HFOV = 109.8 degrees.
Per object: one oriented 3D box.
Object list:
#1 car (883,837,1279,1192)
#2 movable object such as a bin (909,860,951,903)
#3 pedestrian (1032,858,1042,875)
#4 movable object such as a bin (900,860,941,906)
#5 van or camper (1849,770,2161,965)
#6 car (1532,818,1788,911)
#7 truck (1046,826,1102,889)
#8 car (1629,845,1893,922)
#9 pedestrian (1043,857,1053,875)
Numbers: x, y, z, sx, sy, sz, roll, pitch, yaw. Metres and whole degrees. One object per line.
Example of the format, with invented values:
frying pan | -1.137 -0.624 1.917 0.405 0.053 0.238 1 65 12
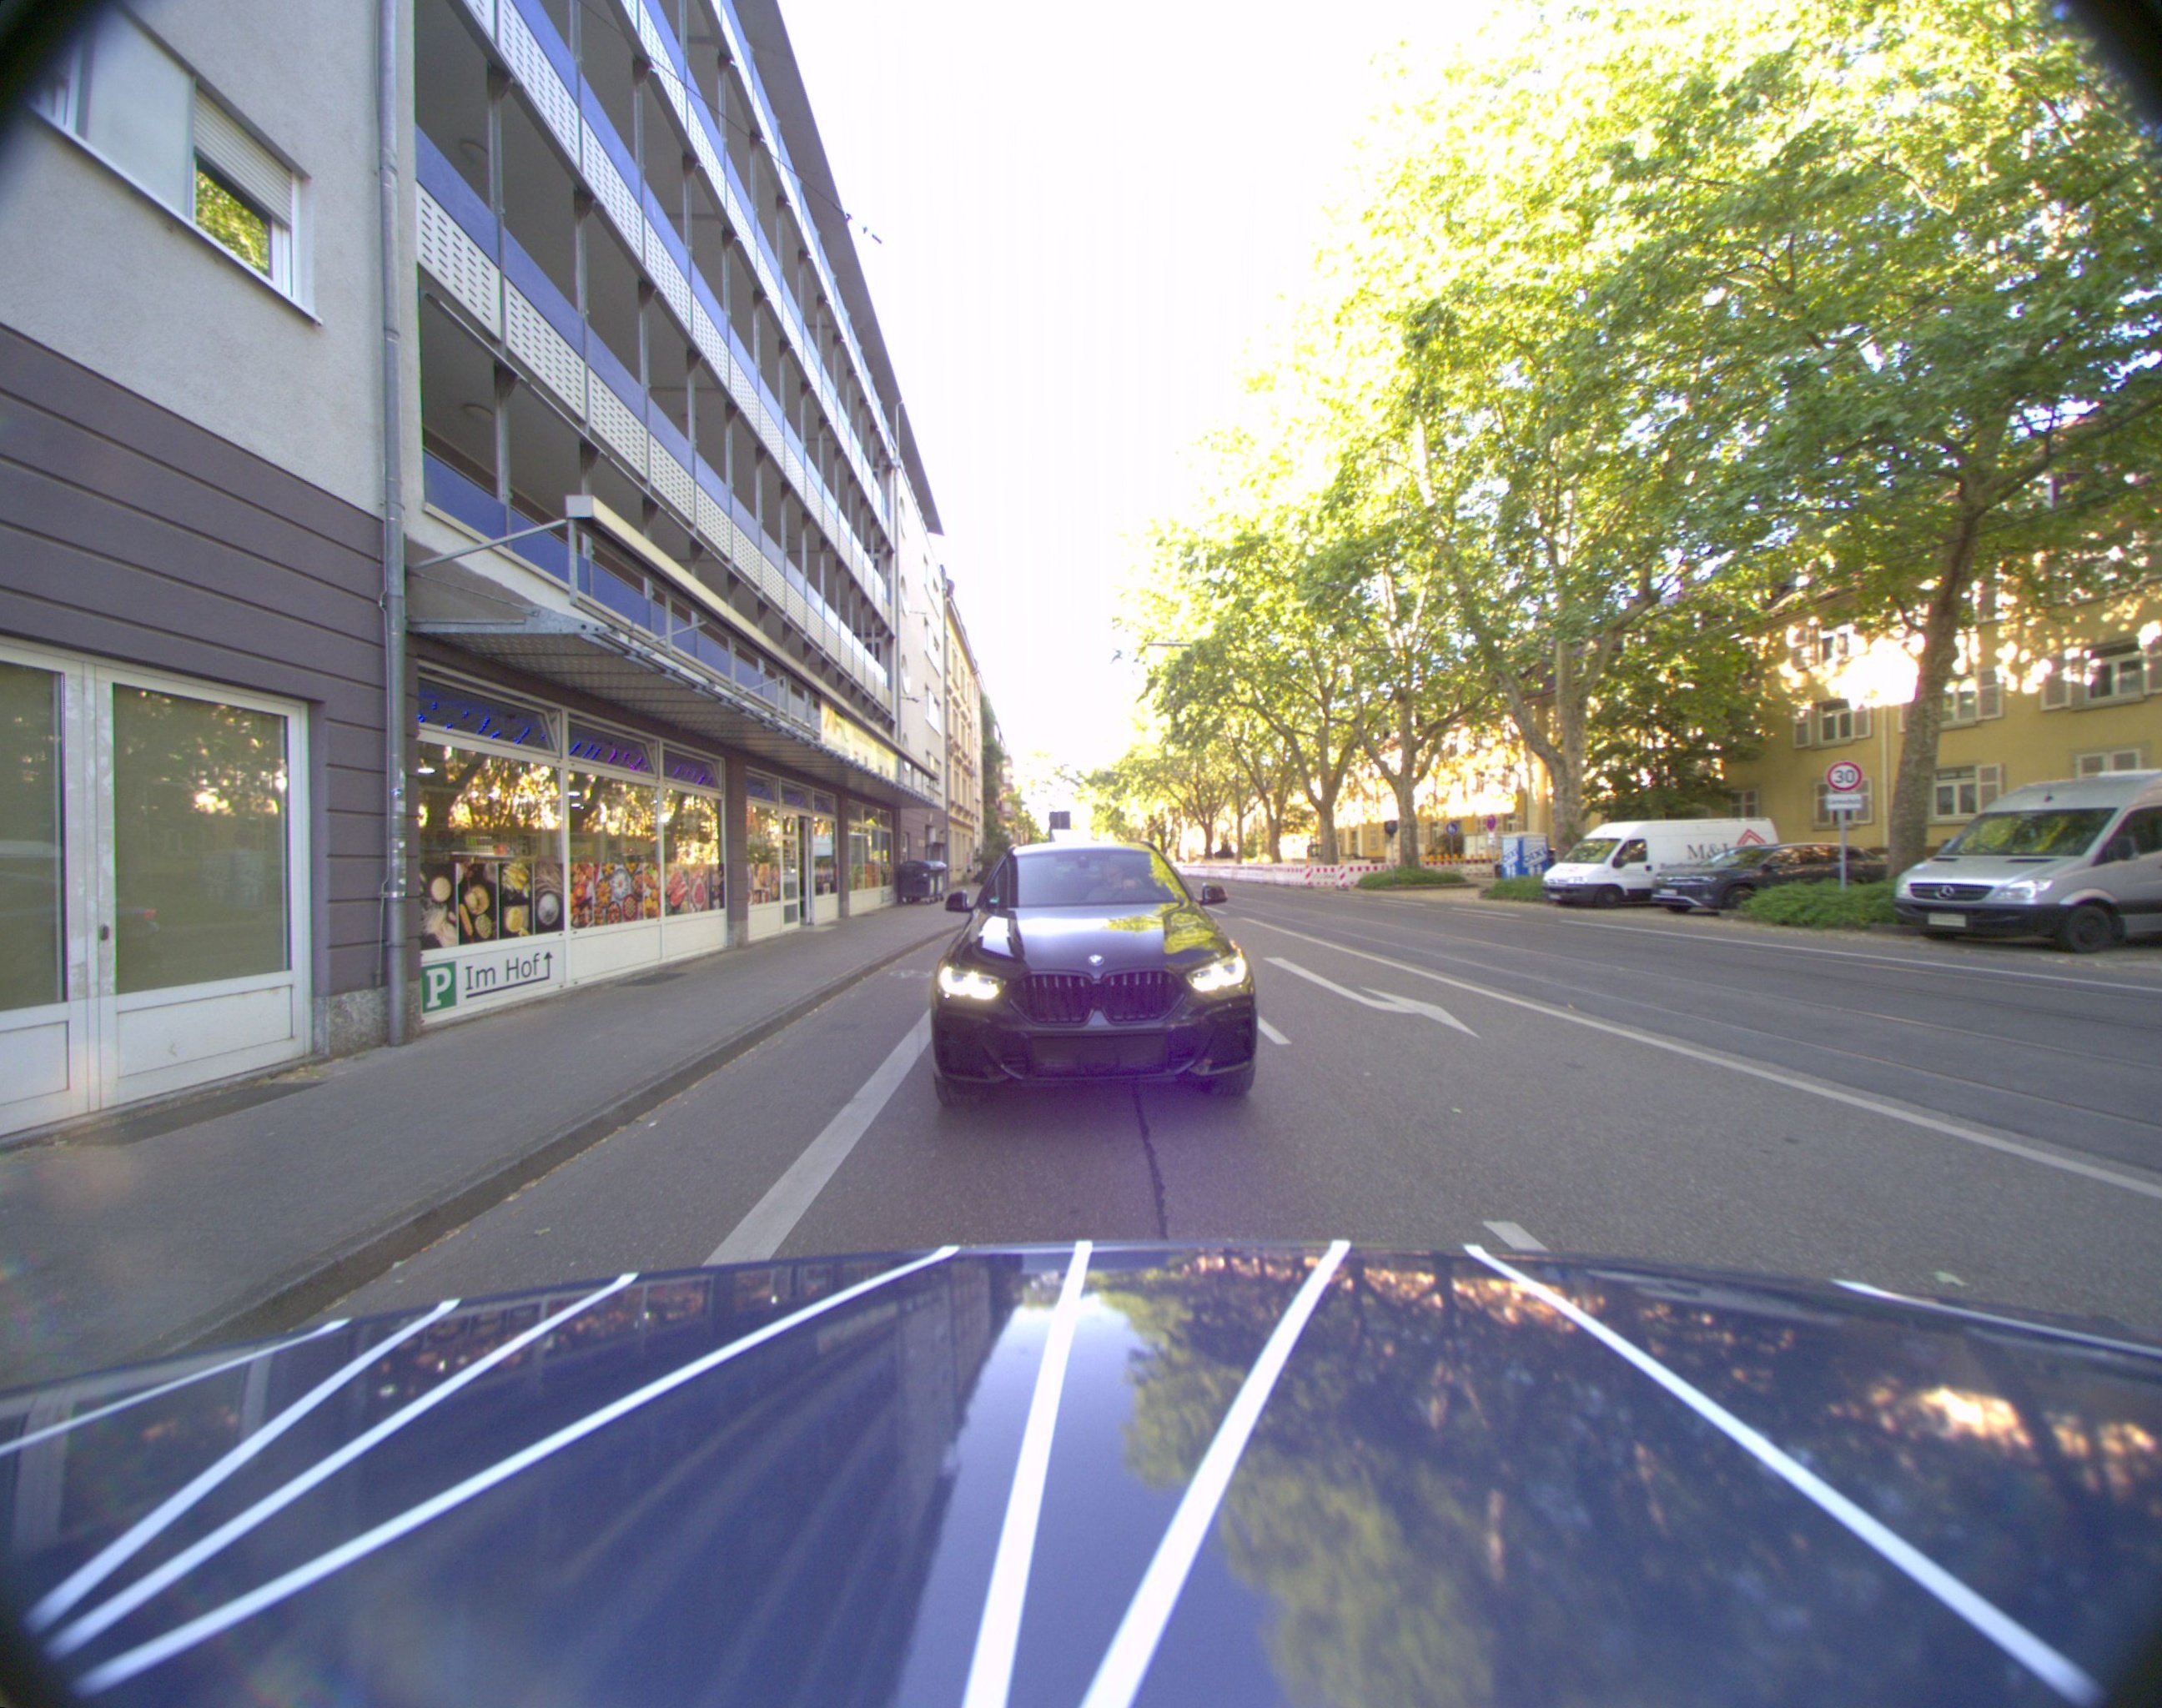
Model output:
car | 0.024 0.823 6.078 1.943 1.733 4.475 -2 0 1
movable object such as a bin | -5.281 0.951 26.727 1.122 1.437 1.306 -1 0 4
pedestrian | -4.463 1.283 77.396 0.876 1.728 0.848 -3 1 4
movable object such as a bin | -5.222 0.931 24.832 1.069 1.438 1.296 -1 0 -1
van or camper | 16.093 0.125 11.818 6.127 2.661 2.229 -2 0 -2
car | 15.857 0.271 21.017 5.612 2.361 2.025 -1 0 -2
truck | -0.568 0.198 43.176 2.385 3.165 8.525 2 0 -5
car | 15.945 0.654 17.991 4.575 1.621 1.969 -1 0 -2
pedestrian | -3.400 1.229 77.485 0.876 1.728 0.848 -3 1 1
